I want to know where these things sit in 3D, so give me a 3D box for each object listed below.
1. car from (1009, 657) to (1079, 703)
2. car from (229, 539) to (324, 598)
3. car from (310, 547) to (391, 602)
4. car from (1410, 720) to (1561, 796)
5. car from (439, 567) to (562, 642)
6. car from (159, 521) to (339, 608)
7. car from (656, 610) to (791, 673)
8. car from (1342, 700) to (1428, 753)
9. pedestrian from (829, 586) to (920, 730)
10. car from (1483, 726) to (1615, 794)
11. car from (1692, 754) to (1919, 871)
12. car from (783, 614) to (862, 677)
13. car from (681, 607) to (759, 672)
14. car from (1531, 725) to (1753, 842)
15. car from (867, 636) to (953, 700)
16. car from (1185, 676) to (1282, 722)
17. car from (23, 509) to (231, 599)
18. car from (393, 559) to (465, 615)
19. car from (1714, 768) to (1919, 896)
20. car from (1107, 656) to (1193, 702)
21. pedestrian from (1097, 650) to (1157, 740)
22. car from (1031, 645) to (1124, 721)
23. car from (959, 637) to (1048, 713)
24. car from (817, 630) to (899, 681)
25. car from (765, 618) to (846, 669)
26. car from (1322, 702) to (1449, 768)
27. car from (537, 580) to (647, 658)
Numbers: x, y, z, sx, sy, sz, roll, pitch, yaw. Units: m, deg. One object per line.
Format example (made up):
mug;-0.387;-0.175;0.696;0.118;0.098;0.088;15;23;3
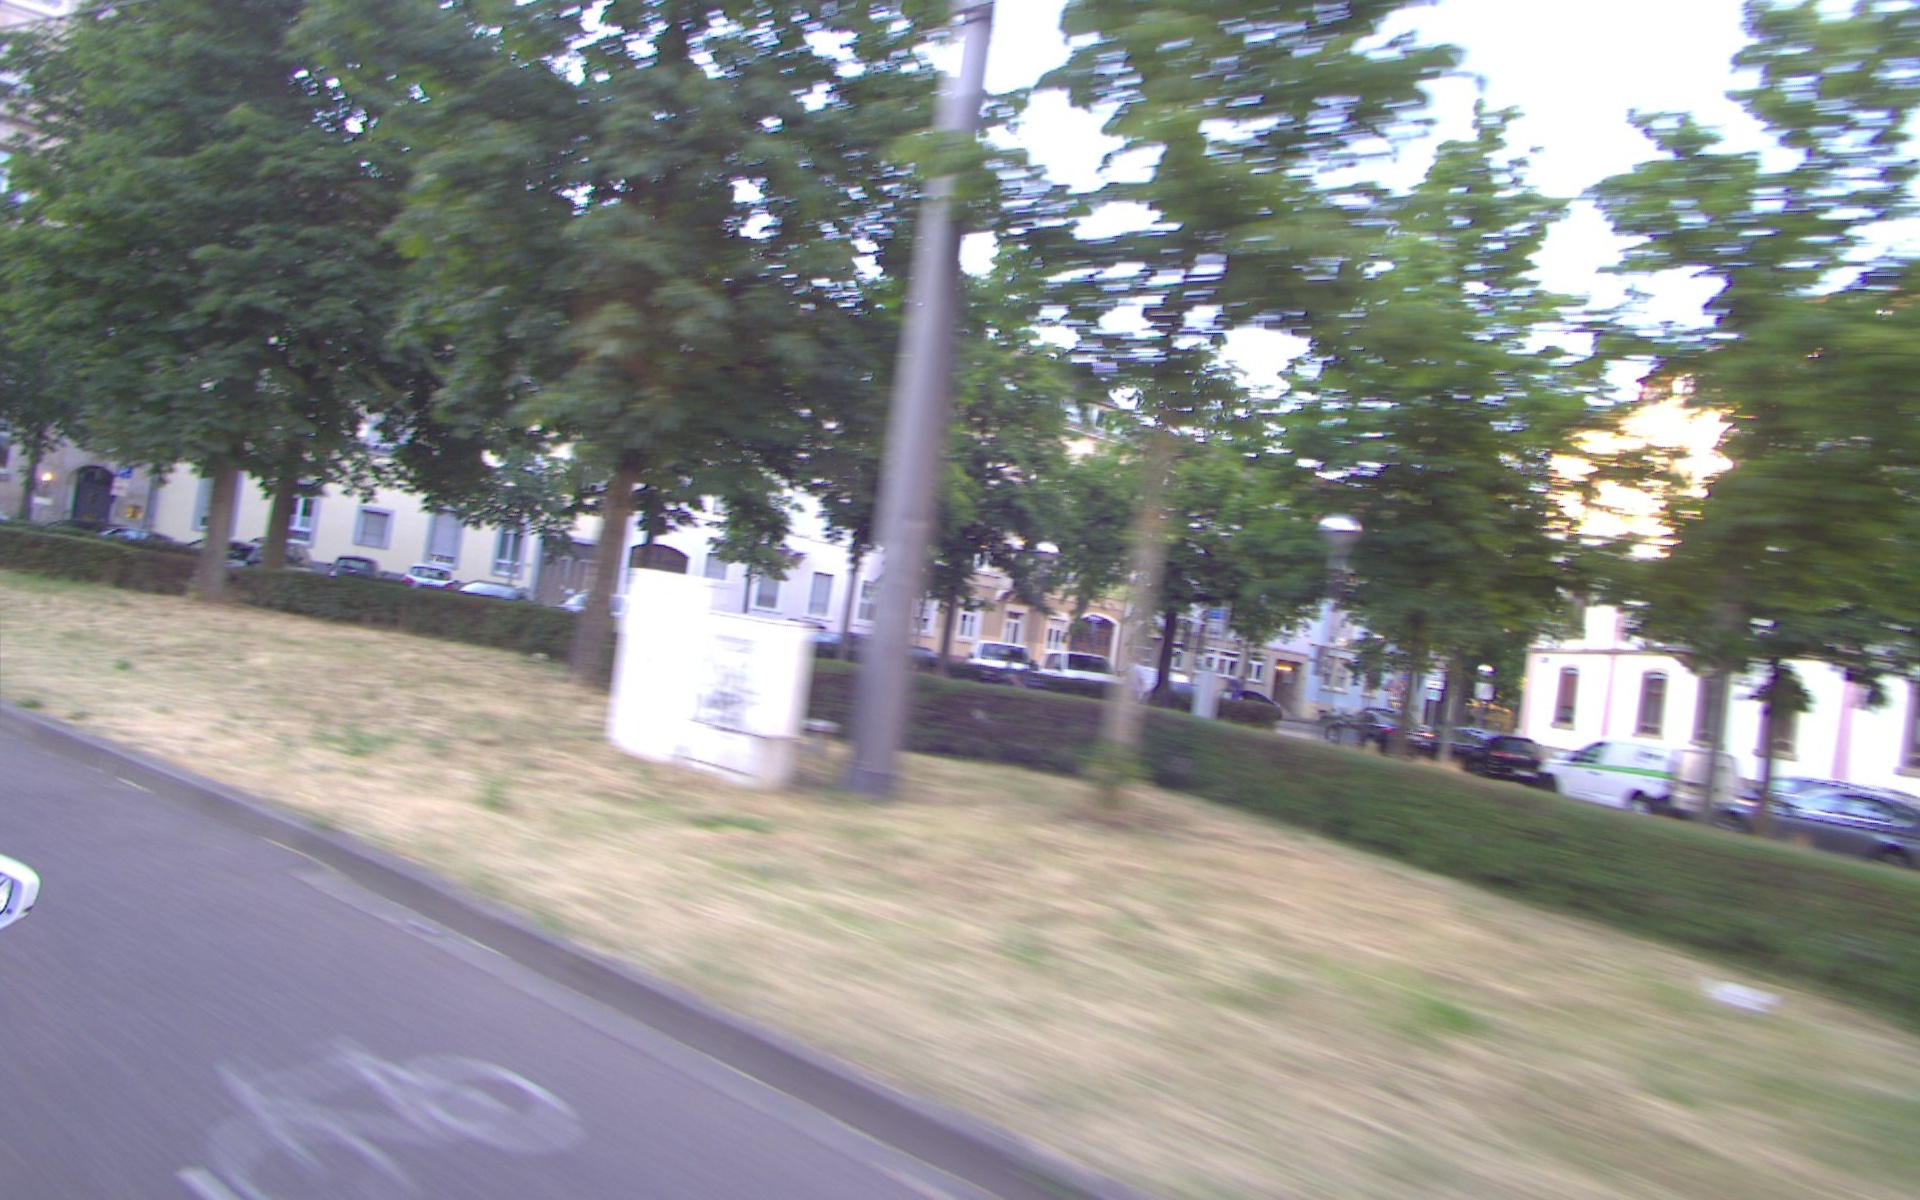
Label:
car;3.839;3.657;46.576;1.969;1.569;4.061;9;-2;-12
car;-23.110;-1.065;34.195;1.817;1.575;4.372;10;-2;-25
car;-21.065;-0.889;34.916;1.817;1.502;4.043;10;-2;-26
car;14.347;4.274;27.693;1.698;1.351;3.781;9;-2;-7
car;-12.271;0.142;27.177;1.969;1.569;4.061;9;-2;-12
car;-16.670;-0.750;23.874;1.836;1.574;4.061;9;-2;-12
car;-8.148;1.430;34.689;4.090;1.499;1.809;10;-2;-27
car;24.684;7.328;58.624;1.979;2.320;4.041;10;-2;-27
pedestrian;-1.050;0.716;12.358;0.641;1.644;0.612;8;-1;41
car;18.747;5.068;32.231;1.672;1.465;3.676;9;-2;-5
car;19.387;4.783;23.195;1.672;1.743;4.013;9;-2;-5
car;-4.397;1.374;31.675;1.969;1.569;4.061;9;-2;-12
car;-7.271;1.156;30.728;1.969;1.569;4.061;9;-2;-12
car;14.888;3.947;22.268;1.673;1.744;4.011;9;-2;-7
car;-1.699;2.157;32.762;1.969;1.569;4.061;9;-2;-12
car;13.215;4.781;48.522;4.286;1.547;1.952;10;-2;-31
car;-19.053;-0.964;23.276;1.836;1.574;4.061;9;-2;-12
car;-18.745;-0.482;35.639;1.816;1.587;4.045;10;-2;-24
car;15.293;3.929;16.741;1.776;1.426;4.321;9;-2;-7
car;9.447;3.913;50.408;1.711;1.630;4.369;10;-2;-28
pedestrian;4.088;2.324;24.625;0.991;2.036;0.830;8;-1;24
car;3.890;2.745;34.261;1.933;2.045;5.083;9;-2;-4
car;1.306;2.361;32.871;2.084;1.924;5.083;9;-2;-4
car;-4.413;2.338;43.113;1.979;1.569;4.041;10;-2;-27
car;-6.465;1.783;41.752;1.979;1.569;4.041;10;-2;-27
car;13.831;4.354;32.998;1.698;1.435;4.393;9;-2;-7
car;-9.700;0.486;26.846;1.969;1.636;4.061;9;-2;-12
